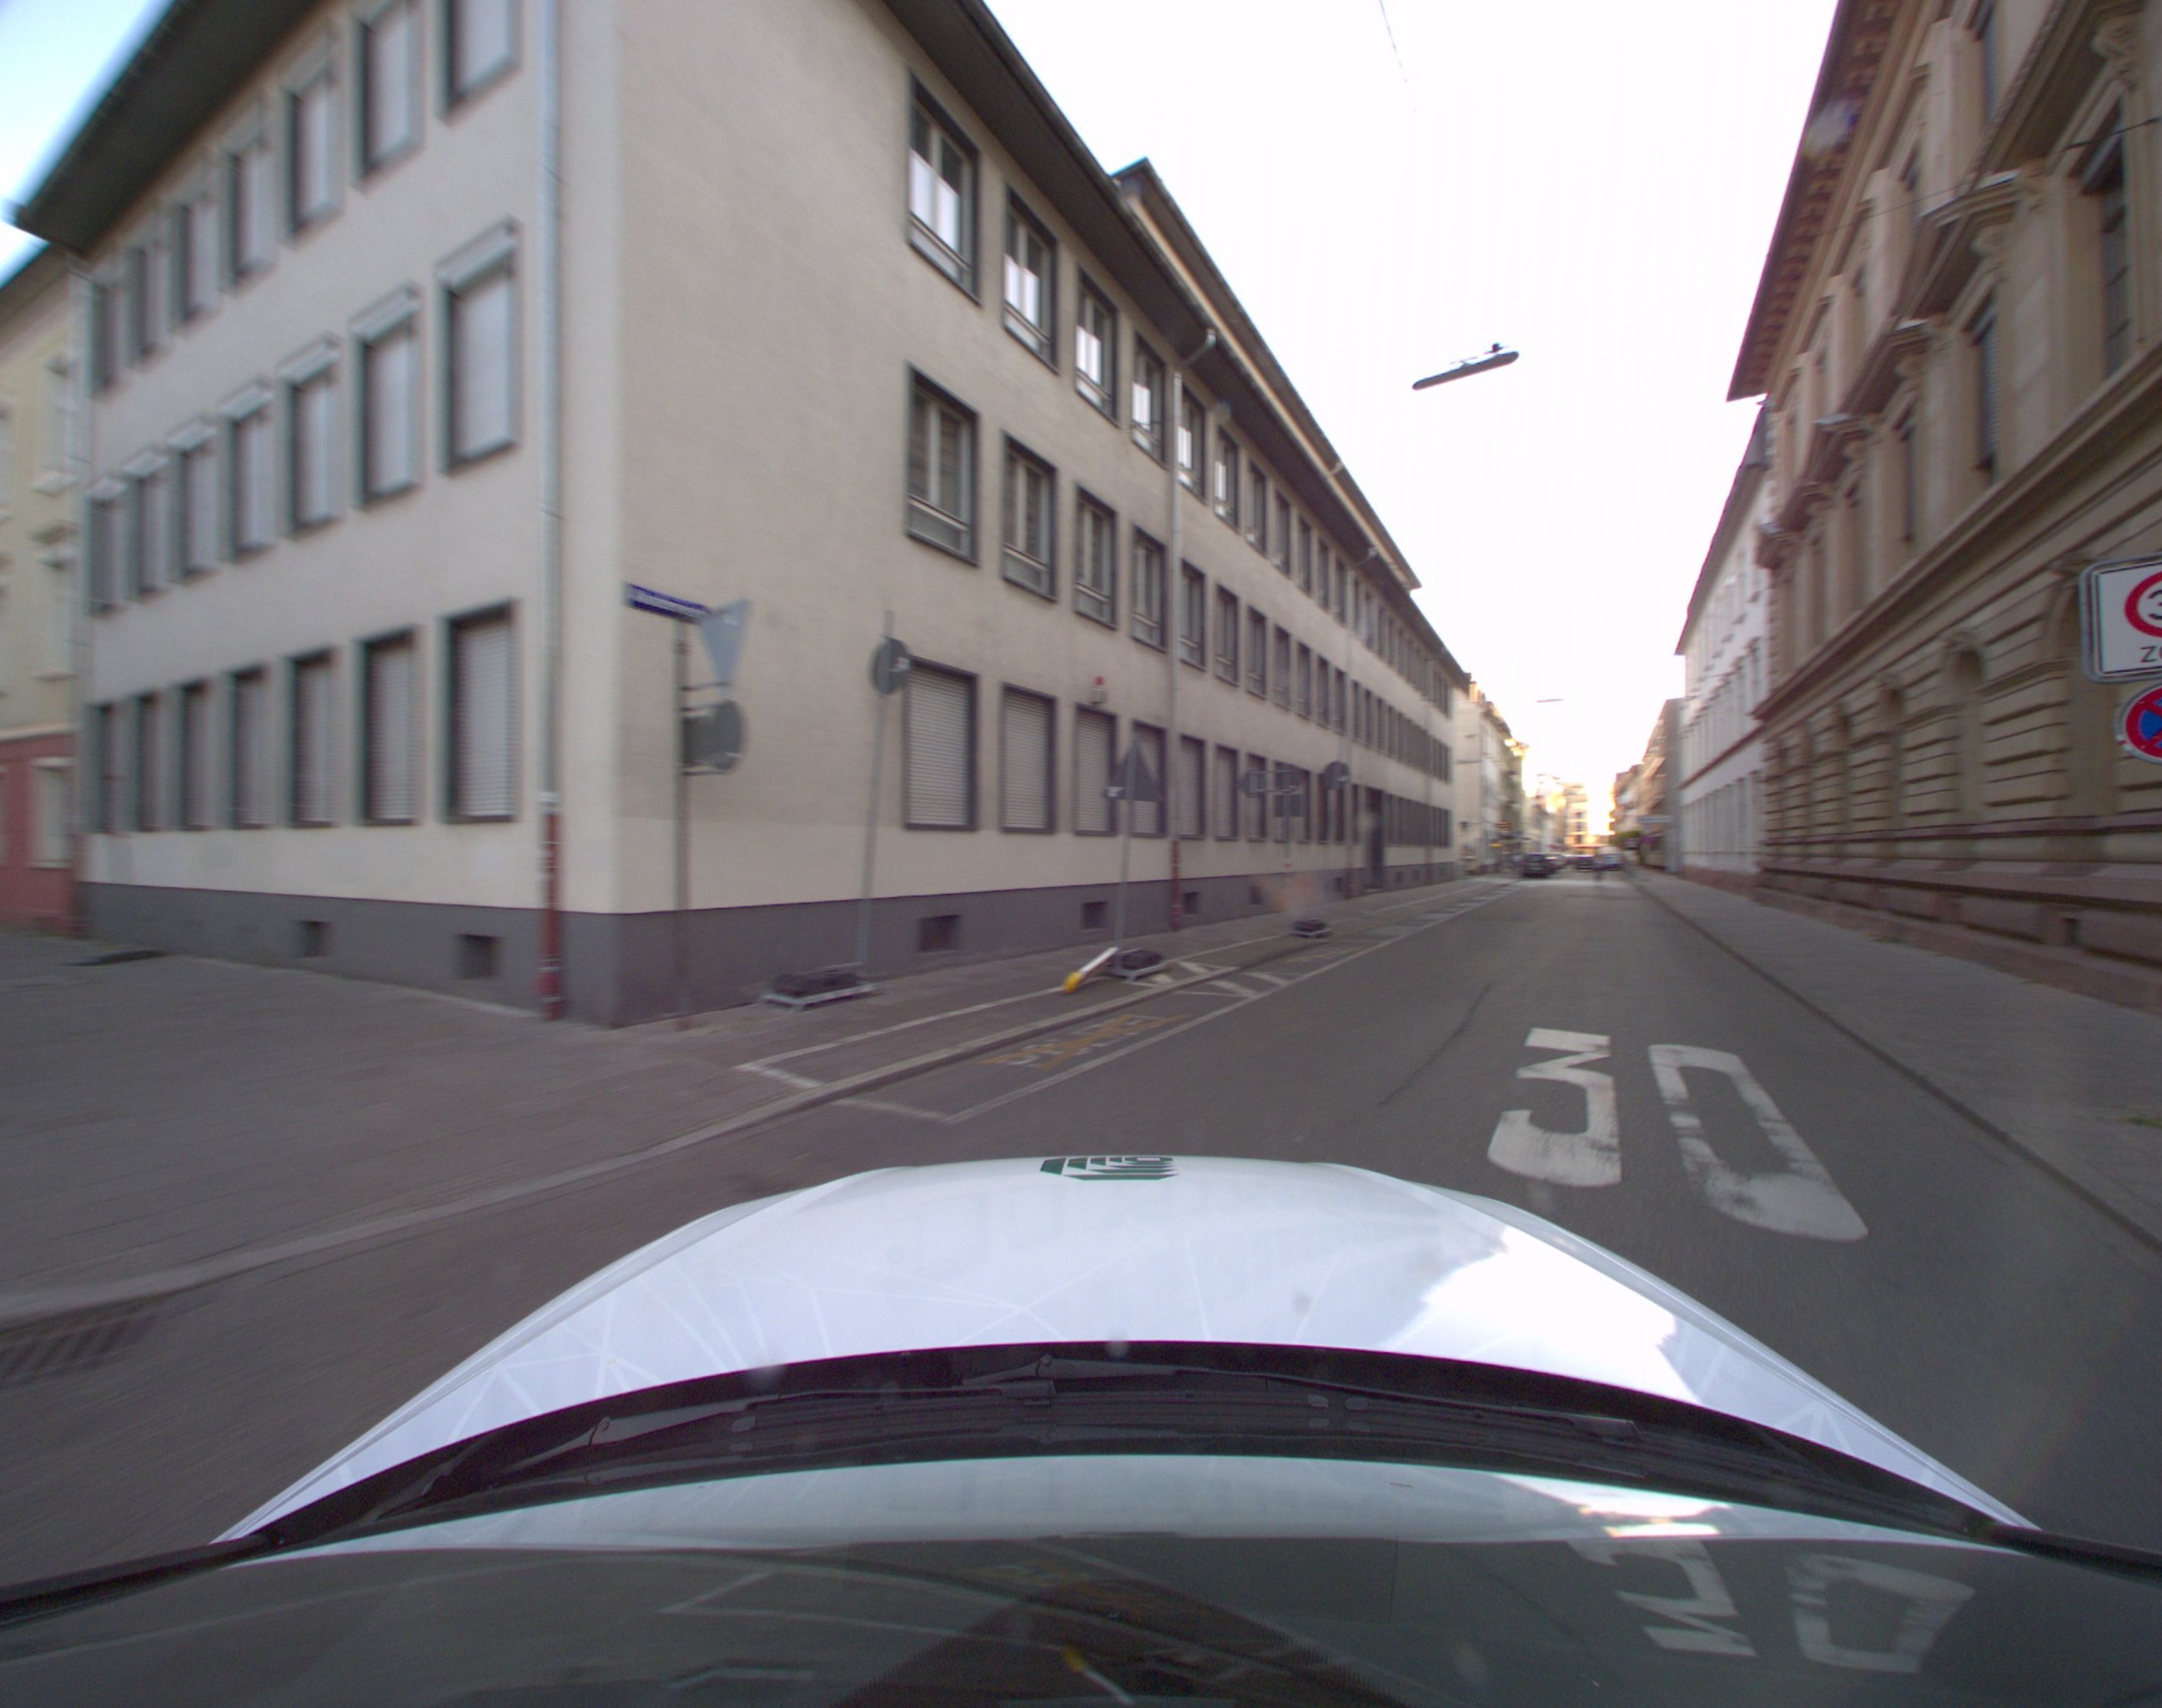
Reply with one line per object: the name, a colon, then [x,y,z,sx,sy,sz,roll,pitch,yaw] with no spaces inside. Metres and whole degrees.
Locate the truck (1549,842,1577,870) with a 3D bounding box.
truck: [62.149,0.286,105.240,2.745,3.505,9.674,0,0,28]

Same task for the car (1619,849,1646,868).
car: [57.191,0.459,84.458,1.974,1.992,4.025,-1,0,30]

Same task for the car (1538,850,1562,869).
car: [45.895,0.569,79.740,1.974,1.816,4.025,-1,0,30]

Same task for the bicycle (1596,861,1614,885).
bicycle: [28.268,1.007,43.900,0.786,1.277,2.594,-1,-1,34]

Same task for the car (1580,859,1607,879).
car: [49.367,1.442,78.529,1.974,1.904,4.025,-1,0,30]

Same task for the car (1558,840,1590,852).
car: [73.111,-1.144,120.748,3.950,1.770,2.027,0,0,27]

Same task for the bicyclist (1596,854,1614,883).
bicyclist: [28.301,0.779,43.973,0.781,1.583,1.018,-1,-1,34]

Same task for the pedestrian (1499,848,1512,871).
pedestrian: [33.185,0.422,63.693,0.749,1.829,0.738,-1,-1,15]

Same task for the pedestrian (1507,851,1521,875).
pedestrian: [35.010,0.723,65.827,0.761,1.911,0.727,0,-1,-38]

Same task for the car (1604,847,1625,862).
car: [66.763,0.054,101.926,1.974,1.886,4.198,-1,0,30]

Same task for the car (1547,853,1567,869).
car: [55.697,0.779,95.215,1.974,1.816,4.025,-1,0,31]

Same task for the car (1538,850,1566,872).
car: [40.237,0.604,69.659,1.975,1.816,4.024,-1,0,29]

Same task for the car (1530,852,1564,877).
car: [34.182,0.749,59.683,1.974,1.728,4.025,-1,0,32]

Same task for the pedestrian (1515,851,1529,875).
pedestrian: [35.132,0.708,64.916,0.761,1.911,0.727,0,-1,-38]
